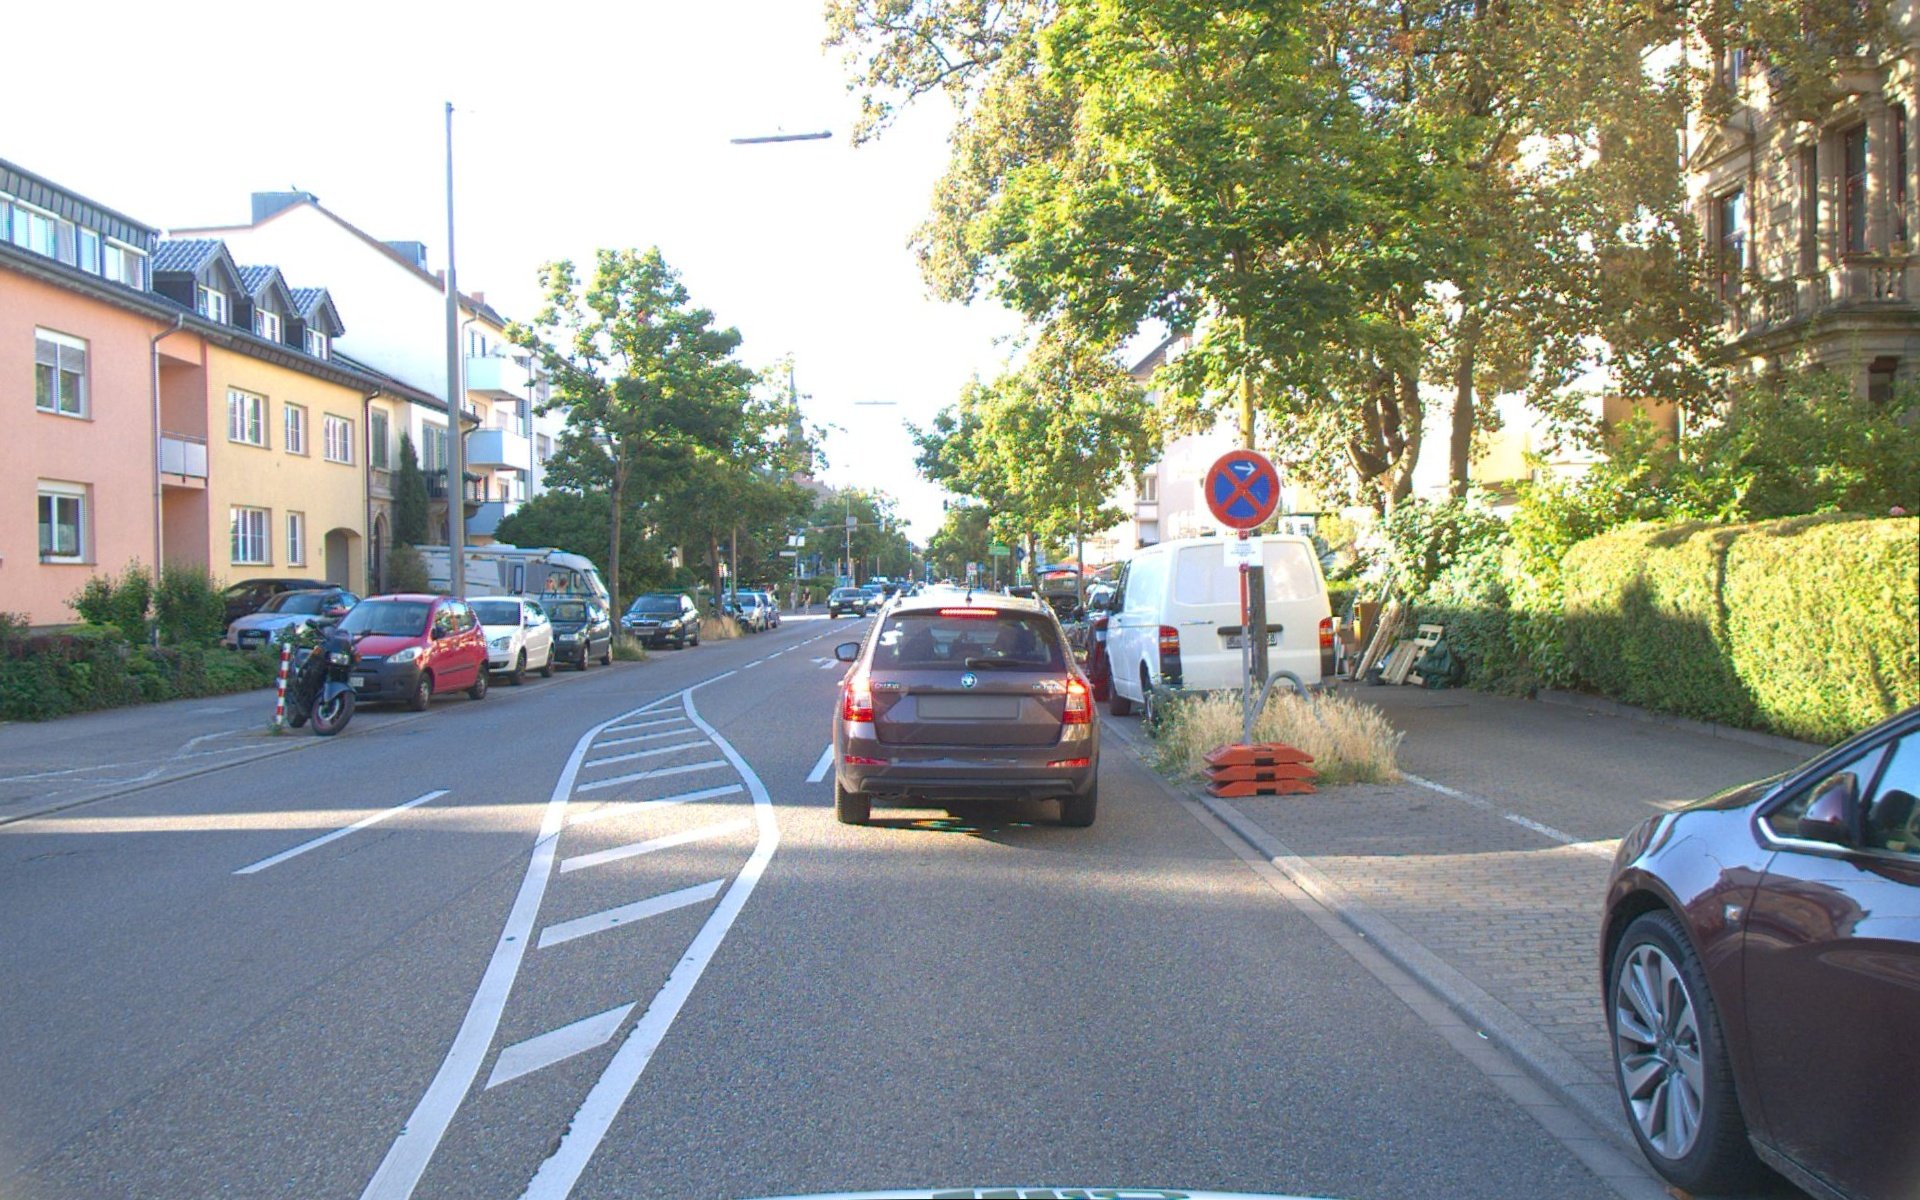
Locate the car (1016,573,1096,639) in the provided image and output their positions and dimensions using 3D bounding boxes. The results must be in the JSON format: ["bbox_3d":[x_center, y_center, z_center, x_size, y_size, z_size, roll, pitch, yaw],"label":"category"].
[{"bbox_3d":[2.400,0.126,42.237,1.673,1.506,4.267,-3,0,-1],"label":"car"}]

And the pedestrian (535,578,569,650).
[{"bbox_3d":[-10.352,0.355,42.013,0.699,1.824,0.506,-1,0,2],"label":"pedestrian"}]

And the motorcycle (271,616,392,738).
[{"bbox_3d":[-7.380,0.849,19.336,1.164,1.288,2.352,-1,0,-24],"label":"motorcycle"}]

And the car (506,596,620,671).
[{"bbox_3d":[-8.104,0.651,34.067,1.511,1.421,3.665,-1,0,-1],"label":"car"}]

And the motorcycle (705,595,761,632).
[{"bbox_3d":[-8.105,0.482,59.079,2.014,1.287,0.764,-1,0,38],"label":"motorcycle"}]

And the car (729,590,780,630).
[{"bbox_3d":[-8.336,0.384,67.414,1.615,1.544,4.073,1,0,-1],"label":"car"}]

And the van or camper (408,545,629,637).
[{"bbox_3d":[-14.599,-0.290,55.061,6.660,2.821,2.351,2,0,-2],"label":"van or camper"}]

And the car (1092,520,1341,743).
[{"bbox_3d":[2.689,0.288,18.433,1.865,2.140,4.639,-1,0,-2],"label":"car"}]

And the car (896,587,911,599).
[{"bbox_3d":[-7.342,-0.940,216.348,1.793,1.607,4.000,-1,0,-1],"label":"car"}]

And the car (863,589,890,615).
[{"bbox_3d":[-6.135,0.143,122.222,1.769,1.836,4.744,-2,0,-1],"label":"car"}]

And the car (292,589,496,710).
[{"bbox_3d":[-7.811,0.629,23.139,1.560,1.550,3.437,-1,0,2],"label":"car"}]

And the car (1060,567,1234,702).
[{"bbox_3d":[2.543,0.432,23.484,1.818,1.631,4.310,-3,0,-1],"label":"car"}]

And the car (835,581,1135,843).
[{"bbox_3d":[0.103,0.638,11.774,1.737,1.515,4.310,0,0,-1],"label":"car"}]

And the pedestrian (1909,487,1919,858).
[{"bbox_3d":[5.105,0.350,7.605,0.804,1.805,1.088,-1,0,-5],"label":"pedestrian"}]

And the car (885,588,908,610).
[{"bbox_3d":[-5.854,-0.095,153.199,1.953,1.942,4.963,-3,0,-1],"label":"car"}]

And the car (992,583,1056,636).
[{"bbox_3d":[2.078,0.274,54.574,1.818,1.609,4.012,-2,0,-1],"label":"car"}]

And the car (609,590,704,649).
[{"bbox_3d":[-8.359,0.514,45.957,1.829,1.520,4.517,1,0,-1],"label":"car"}]

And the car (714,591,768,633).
[{"bbox_3d":[-8.279,0.441,62.785,1.561,1.496,3.803,1,0,-1],"label":"car"}]

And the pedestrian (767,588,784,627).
[{"bbox_3d":[-9.844,0.391,88.347,0.764,2.022,0.821,-1,0,0],"label":"pedestrian"}]

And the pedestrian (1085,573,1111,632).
[{"bbox_3d":[4.193,0.075,50.393,0.649,1.779,0.772,-2,0,-2],"label":"pedestrian"}]

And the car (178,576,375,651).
[{"bbox_3d":[-16.398,0.309,39.810,3.905,1.664,1.866,1,0,0],"label":"car"}]

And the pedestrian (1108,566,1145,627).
[{"bbox_3d":[4.639,-0.097,46.088,0.742,1.668,0.693,-1,0,36],"label":"pedestrian"}]

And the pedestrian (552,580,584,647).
[{"bbox_3d":[-10.760,0.374,45.401,0.699,1.824,0.572,-1,0,2],"label":"pedestrian"}]

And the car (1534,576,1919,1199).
[{"bbox_3d":[2.713,0.680,2.822,1.722,1.445,4.614,-3,0,-1],"label":"car"}]

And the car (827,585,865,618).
[{"bbox_3d":[-6.075,0.081,88.517,1.798,1.597,3.999,-3,0,-1],"label":"car"}]

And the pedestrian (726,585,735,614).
[{"bbox_3d":[-14.462,-0.033,104.173,0.440,1.828,0.504,-1,0,0],"label":"pedestrian"}]

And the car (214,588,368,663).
[{"bbox_3d":[-13.934,0.499,34.681,1.630,1.433,3.753,-2,0,1],"label":"car"}]

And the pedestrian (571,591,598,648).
[{"bbox_3d":[-10.139,0.529,44.639,0.577,1.522,0.542,-1,0,2],"label":"pedestrian"}]

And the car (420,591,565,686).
[{"bbox_3d":[-8.200,0.627,29.295,1.561,1.550,3.889,-1,0,-2],"label":"car"}]

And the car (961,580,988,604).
[{"bbox_3d":[1.126,-0.649,129.326,1.952,1.803,4.001,1,0,2],"label":"car"}]

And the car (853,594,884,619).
[{"bbox_3d":[-5.866,0.380,106.364,1.725,1.477,4.533,-3,1,-1],"label":"car"}]

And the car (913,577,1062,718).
[{"bbox_3d":[0.320,0.539,21.200,1.701,1.598,4.000,1,0,0],"label":"car"}]
